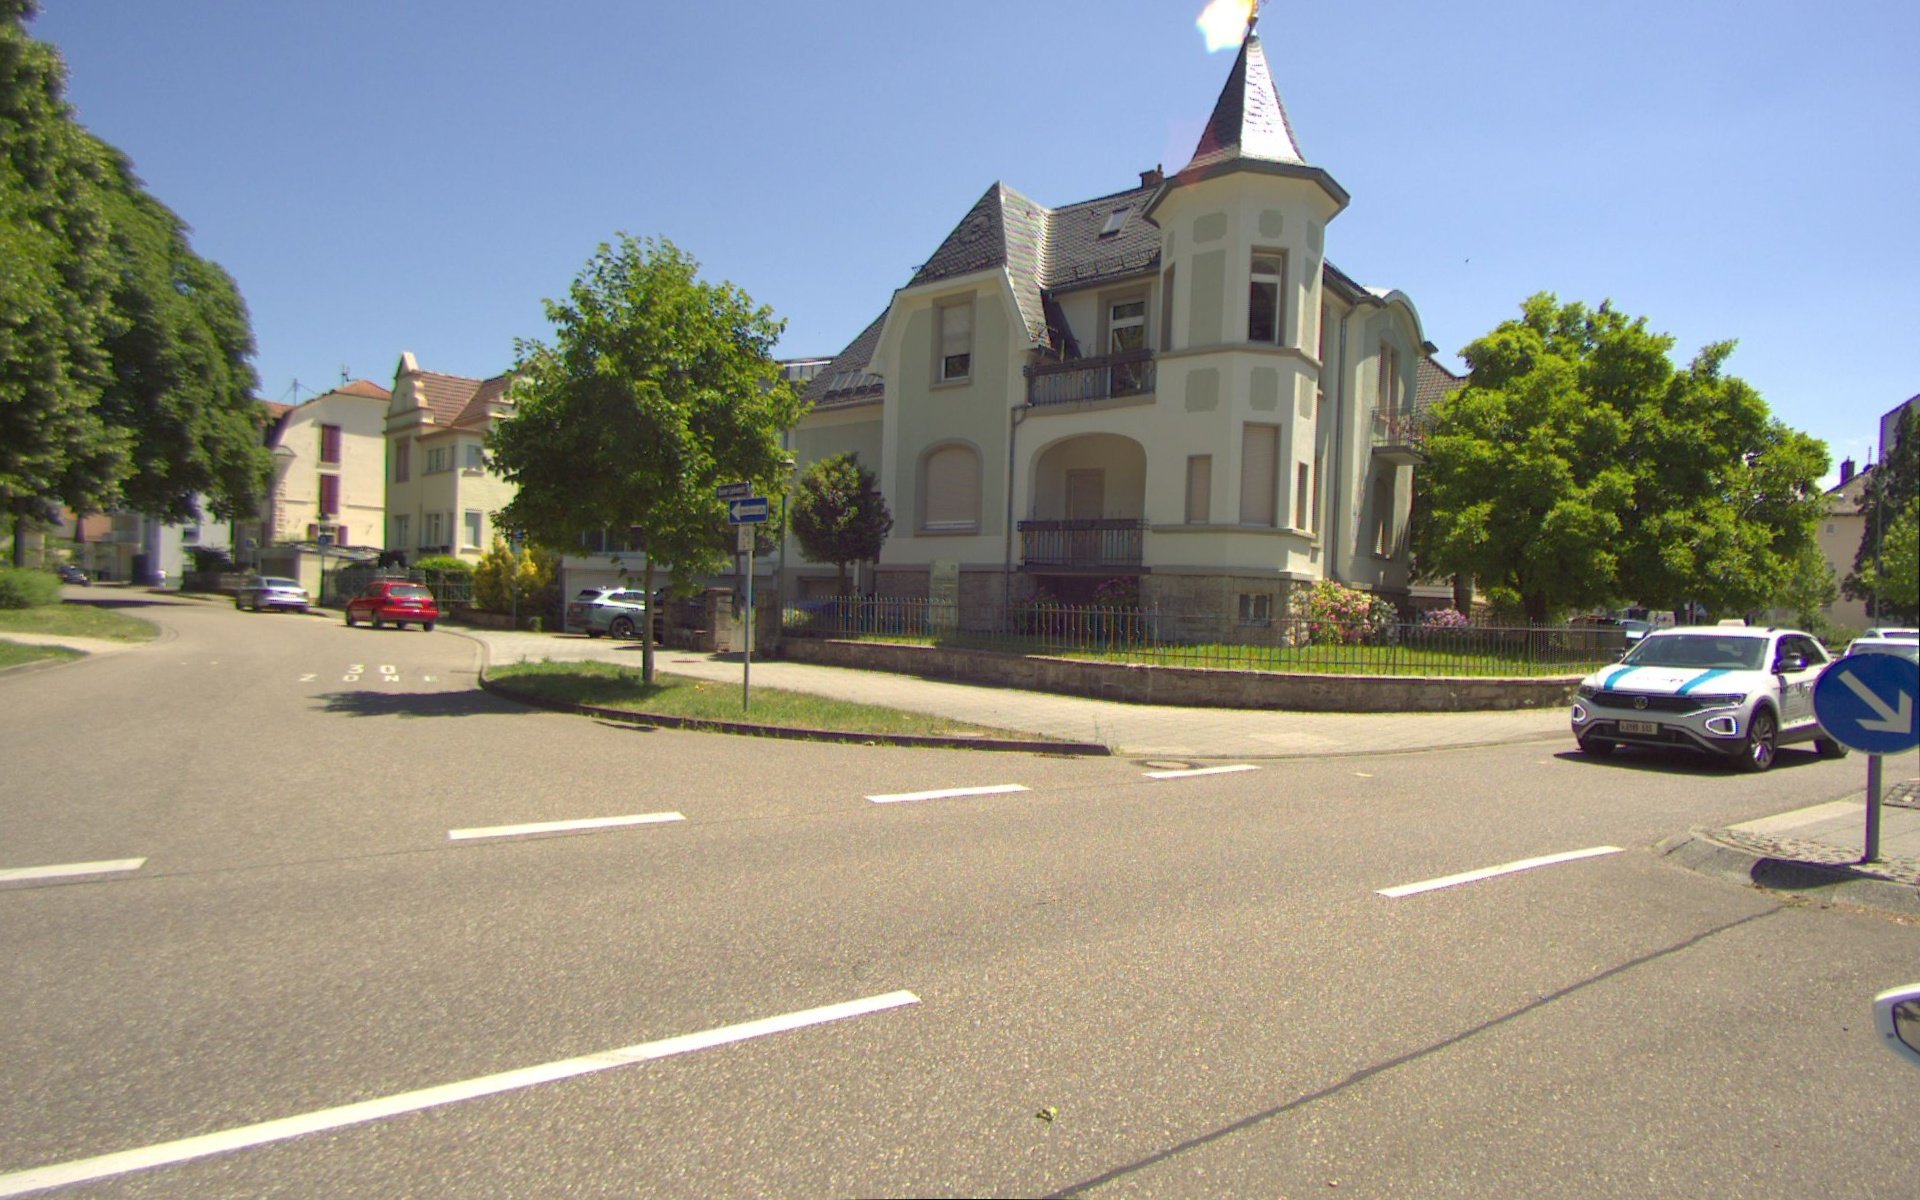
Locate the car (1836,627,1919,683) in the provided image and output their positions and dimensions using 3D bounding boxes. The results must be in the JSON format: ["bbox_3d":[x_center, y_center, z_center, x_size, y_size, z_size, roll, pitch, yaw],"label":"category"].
[{"bbox_3d":[31.150,1.803,33.639,1.909,1.635,4.461,-5,-4,32],"label":"car"}]

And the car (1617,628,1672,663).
[{"bbox_3d":[35.706,2.338,52.503,1.898,1.594,4.650,5,1,30],"label":"car"}]

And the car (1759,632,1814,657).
[{"bbox_3d":[49.721,2.643,60.473,1.835,1.391,3.993,2,0,30],"label":"car"}]

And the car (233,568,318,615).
[{"bbox_3d":[-28.562,-0.382,41.881,4.443,1.802,1.989,2,0,43],"label":"car"}]

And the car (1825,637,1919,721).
[{"bbox_3d":[18.103,1.469,19.522,1.740,1.454,4.278,0,-2,44],"label":"car"}]

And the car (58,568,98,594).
[{"bbox_3d":[-65.712,-1.394,74.813,1.987,1.802,4.447,2,0,-44],"label":"car"}]

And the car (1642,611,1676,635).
[{"bbox_3d":[66.152,2.198,95.089,2.039,2.226,5.130,0,-1,28],"label":"car"}]

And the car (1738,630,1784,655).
[{"bbox_3d":[52.418,2.771,65.763,1.634,1.508,4.338,0,-1,29],"label":"car"}]

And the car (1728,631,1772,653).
[{"bbox_3d":[54.867,2.916,69.826,1.700,1.401,4.395,0,-1,29],"label":"car"}]

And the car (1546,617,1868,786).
[{"bbox_3d":[9.094,1.059,12.137,4.260,1.645,1.860,1,1,-35],"label":"car"}]

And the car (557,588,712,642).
[{"bbox_3d":[-9.650,0.454,29.946,3.972,1.454,1.857,2,1,-44],"label":"car"}]

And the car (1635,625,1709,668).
[{"bbox_3d":[28.287,1.808,40.044,1.898,1.455,4.650,5,1,30],"label":"car"}]

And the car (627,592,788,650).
[{"bbox_3d":[-7.152,0.587,28.653,1.973,1.445,3.975,4,1,45],"label":"car"}]

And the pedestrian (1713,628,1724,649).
[{"bbox_3d":[66.061,3.354,87.461,0.627,1.782,0.616,2,0,26],"label":"pedestrian"}]

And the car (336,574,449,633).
[{"bbox_3d":[-17.797,0.087,31.435,1.987,1.640,4.446,2,0,-44],"label":"car"}]
